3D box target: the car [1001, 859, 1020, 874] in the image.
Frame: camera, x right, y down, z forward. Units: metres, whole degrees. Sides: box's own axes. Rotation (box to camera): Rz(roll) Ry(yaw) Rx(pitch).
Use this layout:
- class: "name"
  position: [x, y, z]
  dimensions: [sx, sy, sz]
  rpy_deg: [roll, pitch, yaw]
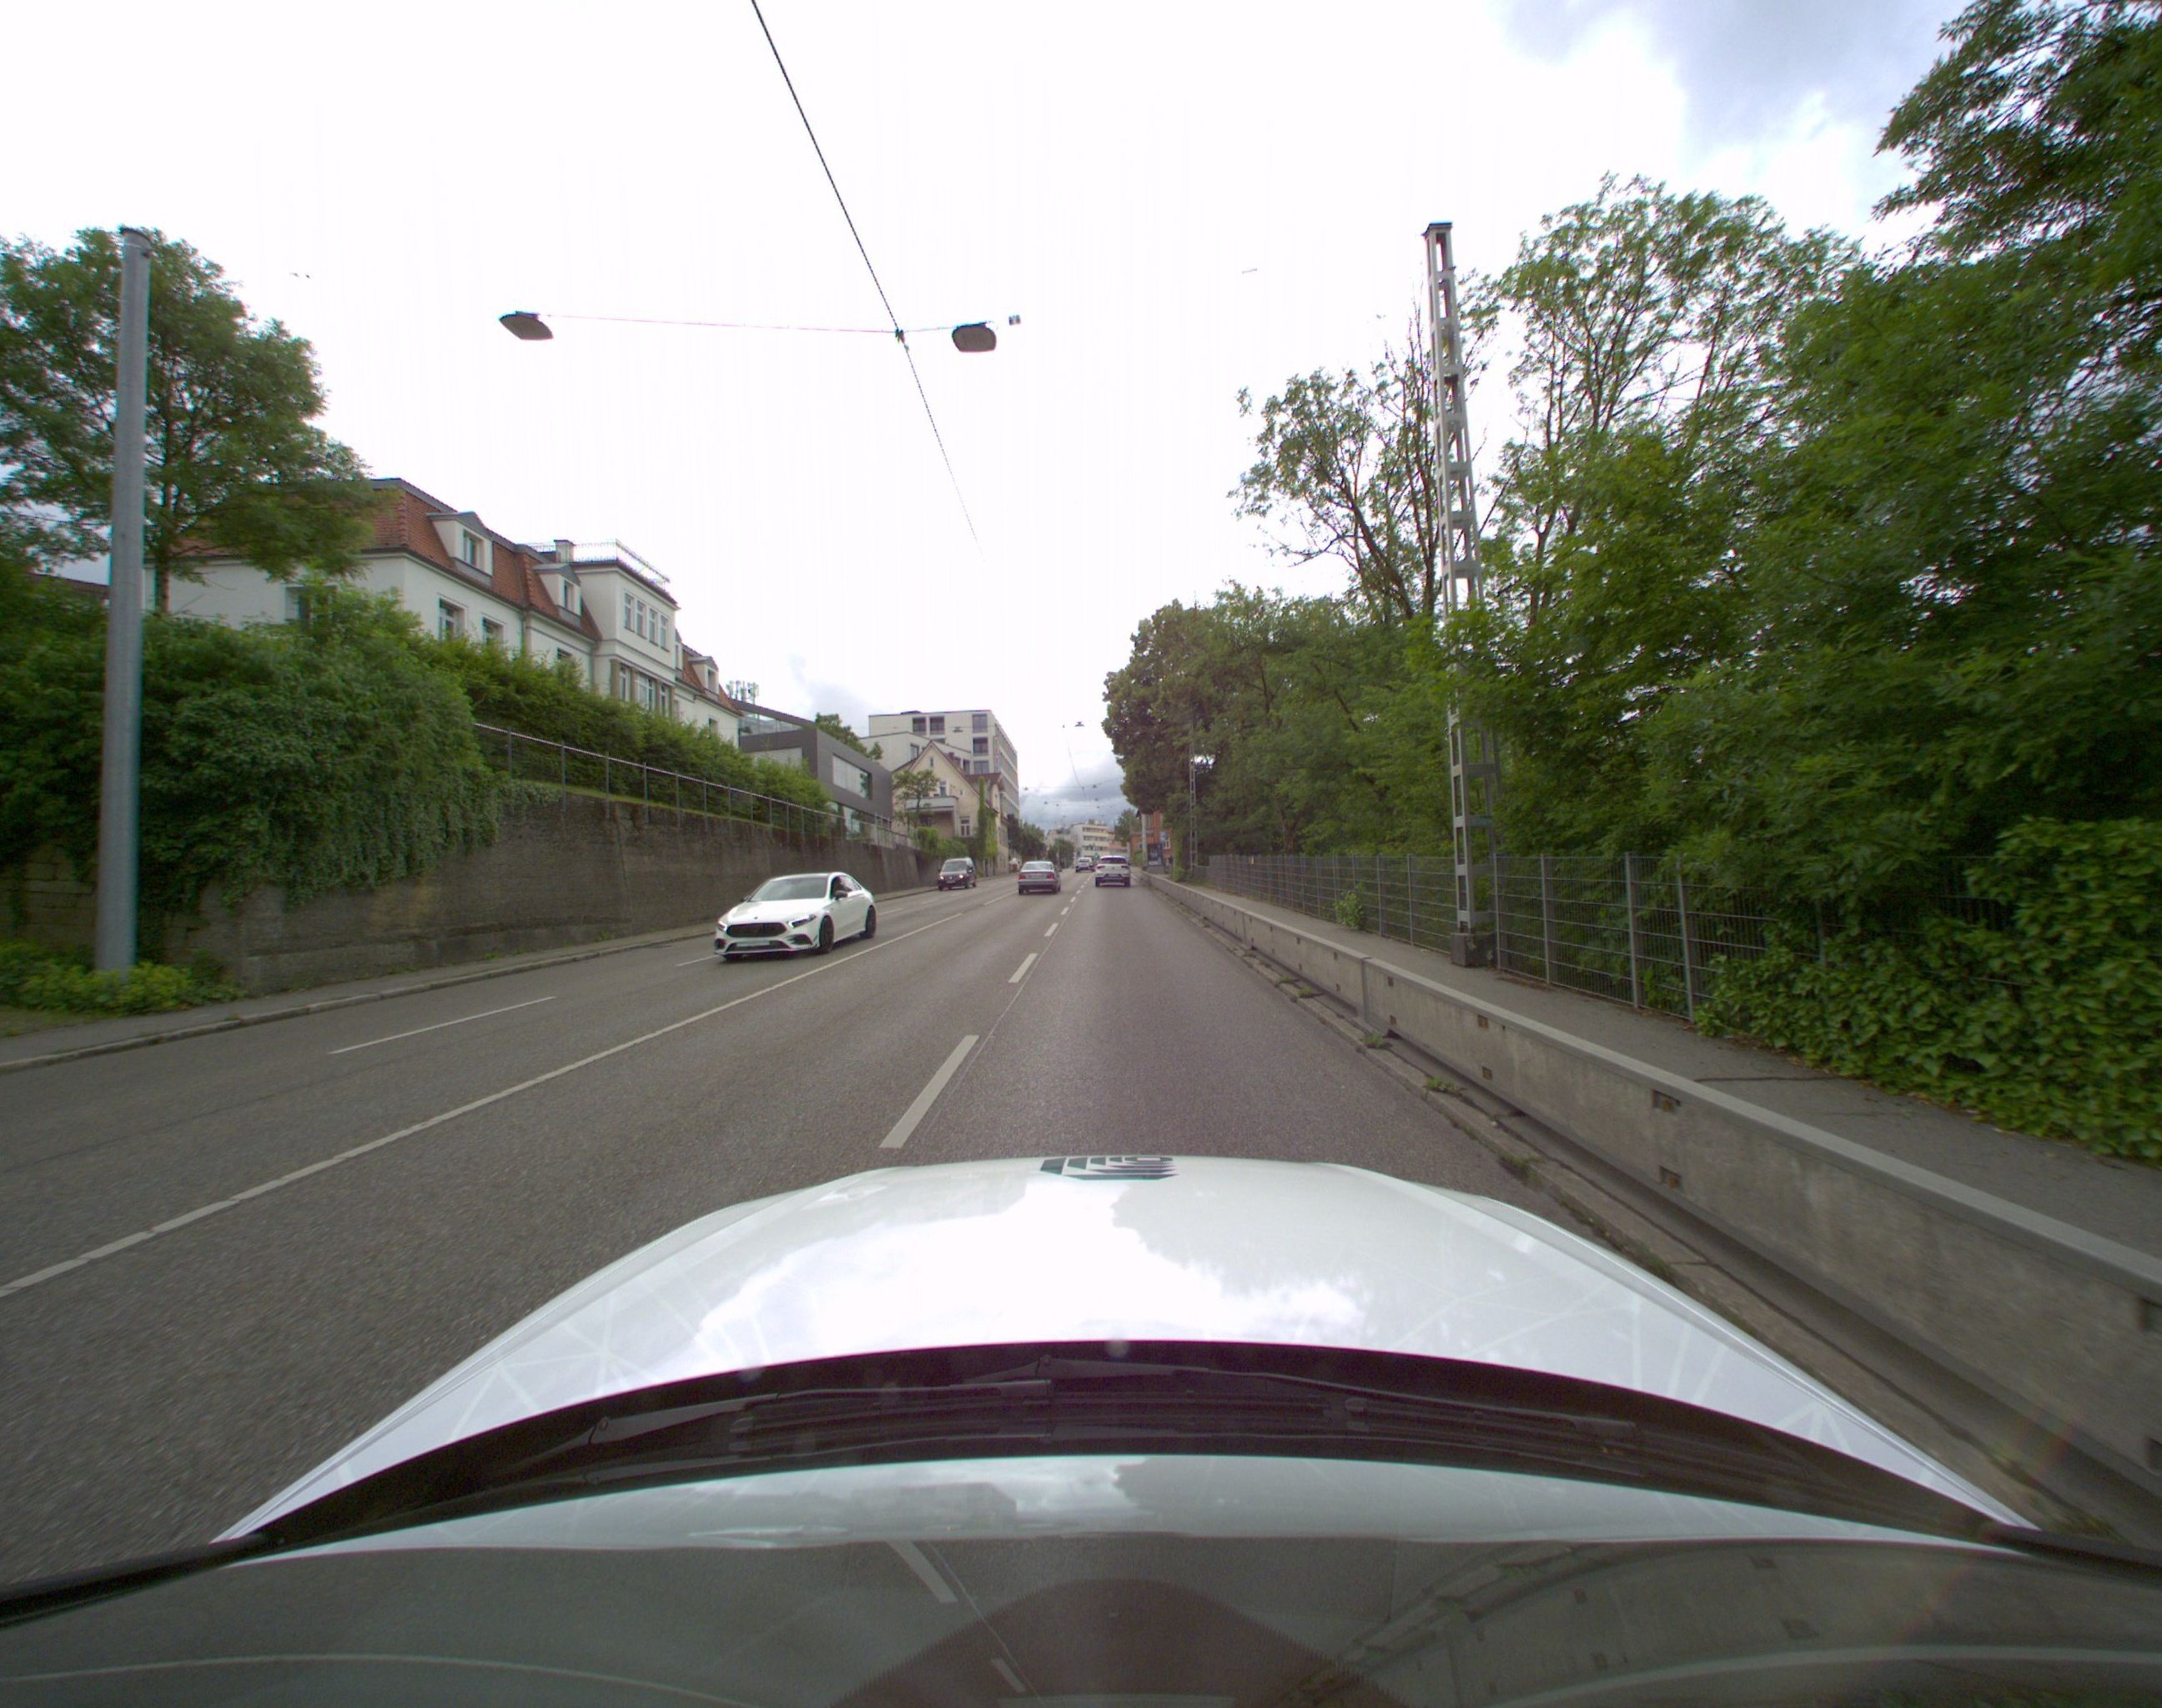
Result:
- class: "car"
  position: [-8.801, 1.519, 101.932]
  dimensions: [1.988, 1.701, 3.997]
  rpy_deg: [-2, 0, -2]

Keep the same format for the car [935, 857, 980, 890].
- class: "car"
  position: [-7.268, 1.099, 48.349]
  dimensions: [1.810, 1.784, 4.497]
  rpy_deg: [-3, 0, 2]

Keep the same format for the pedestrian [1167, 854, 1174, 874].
- class: "pedestrian"
  position: [8.046, 0.909, 73.140]
  dimensions: [0.508, 1.717, 0.465]
  rpy_deg: [-2, 0, 0]

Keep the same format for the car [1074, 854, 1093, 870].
- class: "car"
  position: [0.249, 0.759, 80.359]
  dimensions: [1.700, 1.464, 4.002]
  rpy_deg: [-2, 0, 2]

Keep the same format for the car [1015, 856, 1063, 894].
- class: "car"
  position: [-1.748, 0.870, 35.258]
  dimensions: [1.700, 1.464, 4.002]
  rpy_deg: [-2, 0, 2]

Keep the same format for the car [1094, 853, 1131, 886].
- class: "car"
  position: [1.599, 0.756, 41.985]
  dimensions: [1.774, 1.579, 4.000]
  rpy_deg: [-1, 0, 1]

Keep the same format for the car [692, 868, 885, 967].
- class: "car"
  position: [-5.232, 1.066, 15.311]
  dimensions: [1.809, 1.386, 4.464]
  rpy_deg: [-4, 0, 2]
